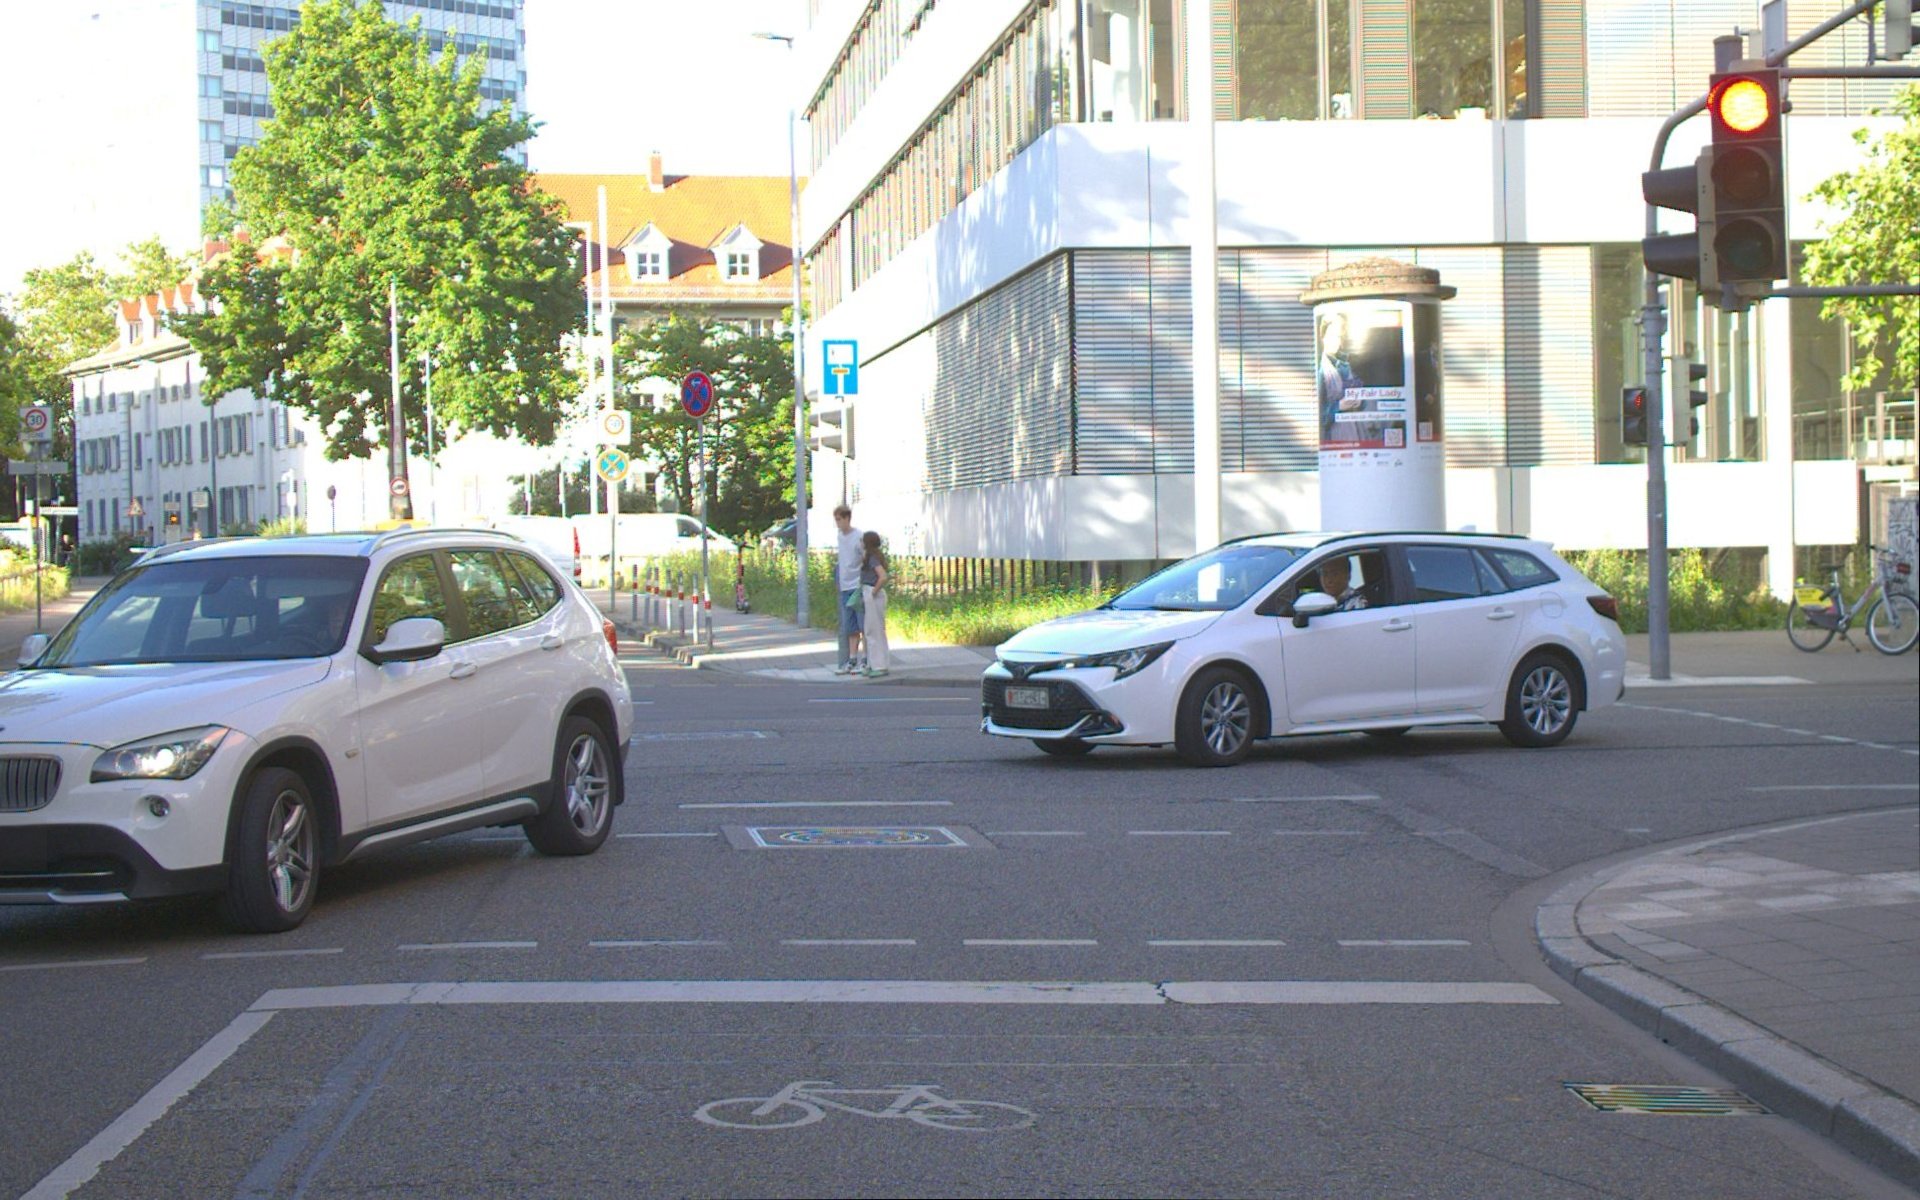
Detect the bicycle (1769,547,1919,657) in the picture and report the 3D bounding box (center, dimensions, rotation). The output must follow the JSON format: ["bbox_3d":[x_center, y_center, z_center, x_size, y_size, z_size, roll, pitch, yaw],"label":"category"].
[{"bbox_3d":[9.311,0.008,36.062,0.507,1.045,1.687,-4,5,-35],"label":"bicycle"}]

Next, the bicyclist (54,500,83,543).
[{"bbox_3d":[-32.458,-2.868,125.120,0.865,1.510,1.019,-4,1,-11],"label":"bicyclist"}]

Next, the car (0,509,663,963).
[{"bbox_3d":[-2.973,0.474,14.742,1.687,1.577,4.271,-3,1,20],"label":"car"}]

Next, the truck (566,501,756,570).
[{"bbox_3d":[-8.969,-1.932,103.073,5.336,2.007,2.001,-1,1,-19],"label":"truck"}]

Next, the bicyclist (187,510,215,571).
[{"bbox_3d":[-19.407,-1.518,87.887,0.615,1.527,0.903,-2,1,-9],"label":"bicyclist"}]

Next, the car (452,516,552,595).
[{"bbox_3d":[-9.747,-0.977,72.966,1.888,1.550,4.417,-1,2,-10],"label":"car"}]

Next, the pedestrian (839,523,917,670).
[{"bbox_3d":[-0.888,-0.045,37.228,0.559,1.535,0.677,-5,2,-18],"label":"pedestrian"}]

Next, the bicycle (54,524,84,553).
[{"bbox_3d":[-32.426,-2.237,125.116,0.865,1.006,2.415,-4,1,-11],"label":"bicycle"}]

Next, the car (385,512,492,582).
[{"bbox_3d":[-13.005,-1.342,85.584,1.888,1.650,4.417,-1,2,-19],"label":"car"}]

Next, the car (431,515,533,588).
[{"bbox_3d":[-10.921,-1.124,78.336,1.888,1.550,4.417,-1,2,-13],"label":"car"}]

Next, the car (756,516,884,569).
[{"bbox_3d":[-4.254,-1.750,104.262,3.554,1.541,1.559,-1,1,-19],"label":"car"}]

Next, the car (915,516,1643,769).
[{"bbox_3d":[2.135,0.214,22.515,4.530,1.471,1.893,-1,1,-33],"label":"car"}]

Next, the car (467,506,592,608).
[{"bbox_3d":[-8.136,-0.848,64.692,2.084,1.789,4.417,-1,2,-10],"label":"car"}]

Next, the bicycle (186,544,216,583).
[{"bbox_3d":[-19.394,-0.949,87.885,0.615,0.966,1.842,-2,1,-9],"label":"bicycle"}]

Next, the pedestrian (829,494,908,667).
[{"bbox_3d":[-1.004,-0.216,37.831,0.560,1.844,0.677,-3,2,16],"label":"pedestrian"}]

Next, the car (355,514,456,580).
[{"bbox_3d":[-14.649,-1.423,90.667,1.888,1.650,4.417,-1,2,-19],"label":"car"}]

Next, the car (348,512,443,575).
[{"bbox_3d":[-15.701,-1.585,95.518,1.888,1.650,4.417,-1,2,-19],"label":"car"}]

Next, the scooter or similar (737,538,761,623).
[{"bbox_3d":[-3.591,-0.335,58.595,0.330,1.419,1.335,1,0,-6],"label":"scooter or similar"}]
